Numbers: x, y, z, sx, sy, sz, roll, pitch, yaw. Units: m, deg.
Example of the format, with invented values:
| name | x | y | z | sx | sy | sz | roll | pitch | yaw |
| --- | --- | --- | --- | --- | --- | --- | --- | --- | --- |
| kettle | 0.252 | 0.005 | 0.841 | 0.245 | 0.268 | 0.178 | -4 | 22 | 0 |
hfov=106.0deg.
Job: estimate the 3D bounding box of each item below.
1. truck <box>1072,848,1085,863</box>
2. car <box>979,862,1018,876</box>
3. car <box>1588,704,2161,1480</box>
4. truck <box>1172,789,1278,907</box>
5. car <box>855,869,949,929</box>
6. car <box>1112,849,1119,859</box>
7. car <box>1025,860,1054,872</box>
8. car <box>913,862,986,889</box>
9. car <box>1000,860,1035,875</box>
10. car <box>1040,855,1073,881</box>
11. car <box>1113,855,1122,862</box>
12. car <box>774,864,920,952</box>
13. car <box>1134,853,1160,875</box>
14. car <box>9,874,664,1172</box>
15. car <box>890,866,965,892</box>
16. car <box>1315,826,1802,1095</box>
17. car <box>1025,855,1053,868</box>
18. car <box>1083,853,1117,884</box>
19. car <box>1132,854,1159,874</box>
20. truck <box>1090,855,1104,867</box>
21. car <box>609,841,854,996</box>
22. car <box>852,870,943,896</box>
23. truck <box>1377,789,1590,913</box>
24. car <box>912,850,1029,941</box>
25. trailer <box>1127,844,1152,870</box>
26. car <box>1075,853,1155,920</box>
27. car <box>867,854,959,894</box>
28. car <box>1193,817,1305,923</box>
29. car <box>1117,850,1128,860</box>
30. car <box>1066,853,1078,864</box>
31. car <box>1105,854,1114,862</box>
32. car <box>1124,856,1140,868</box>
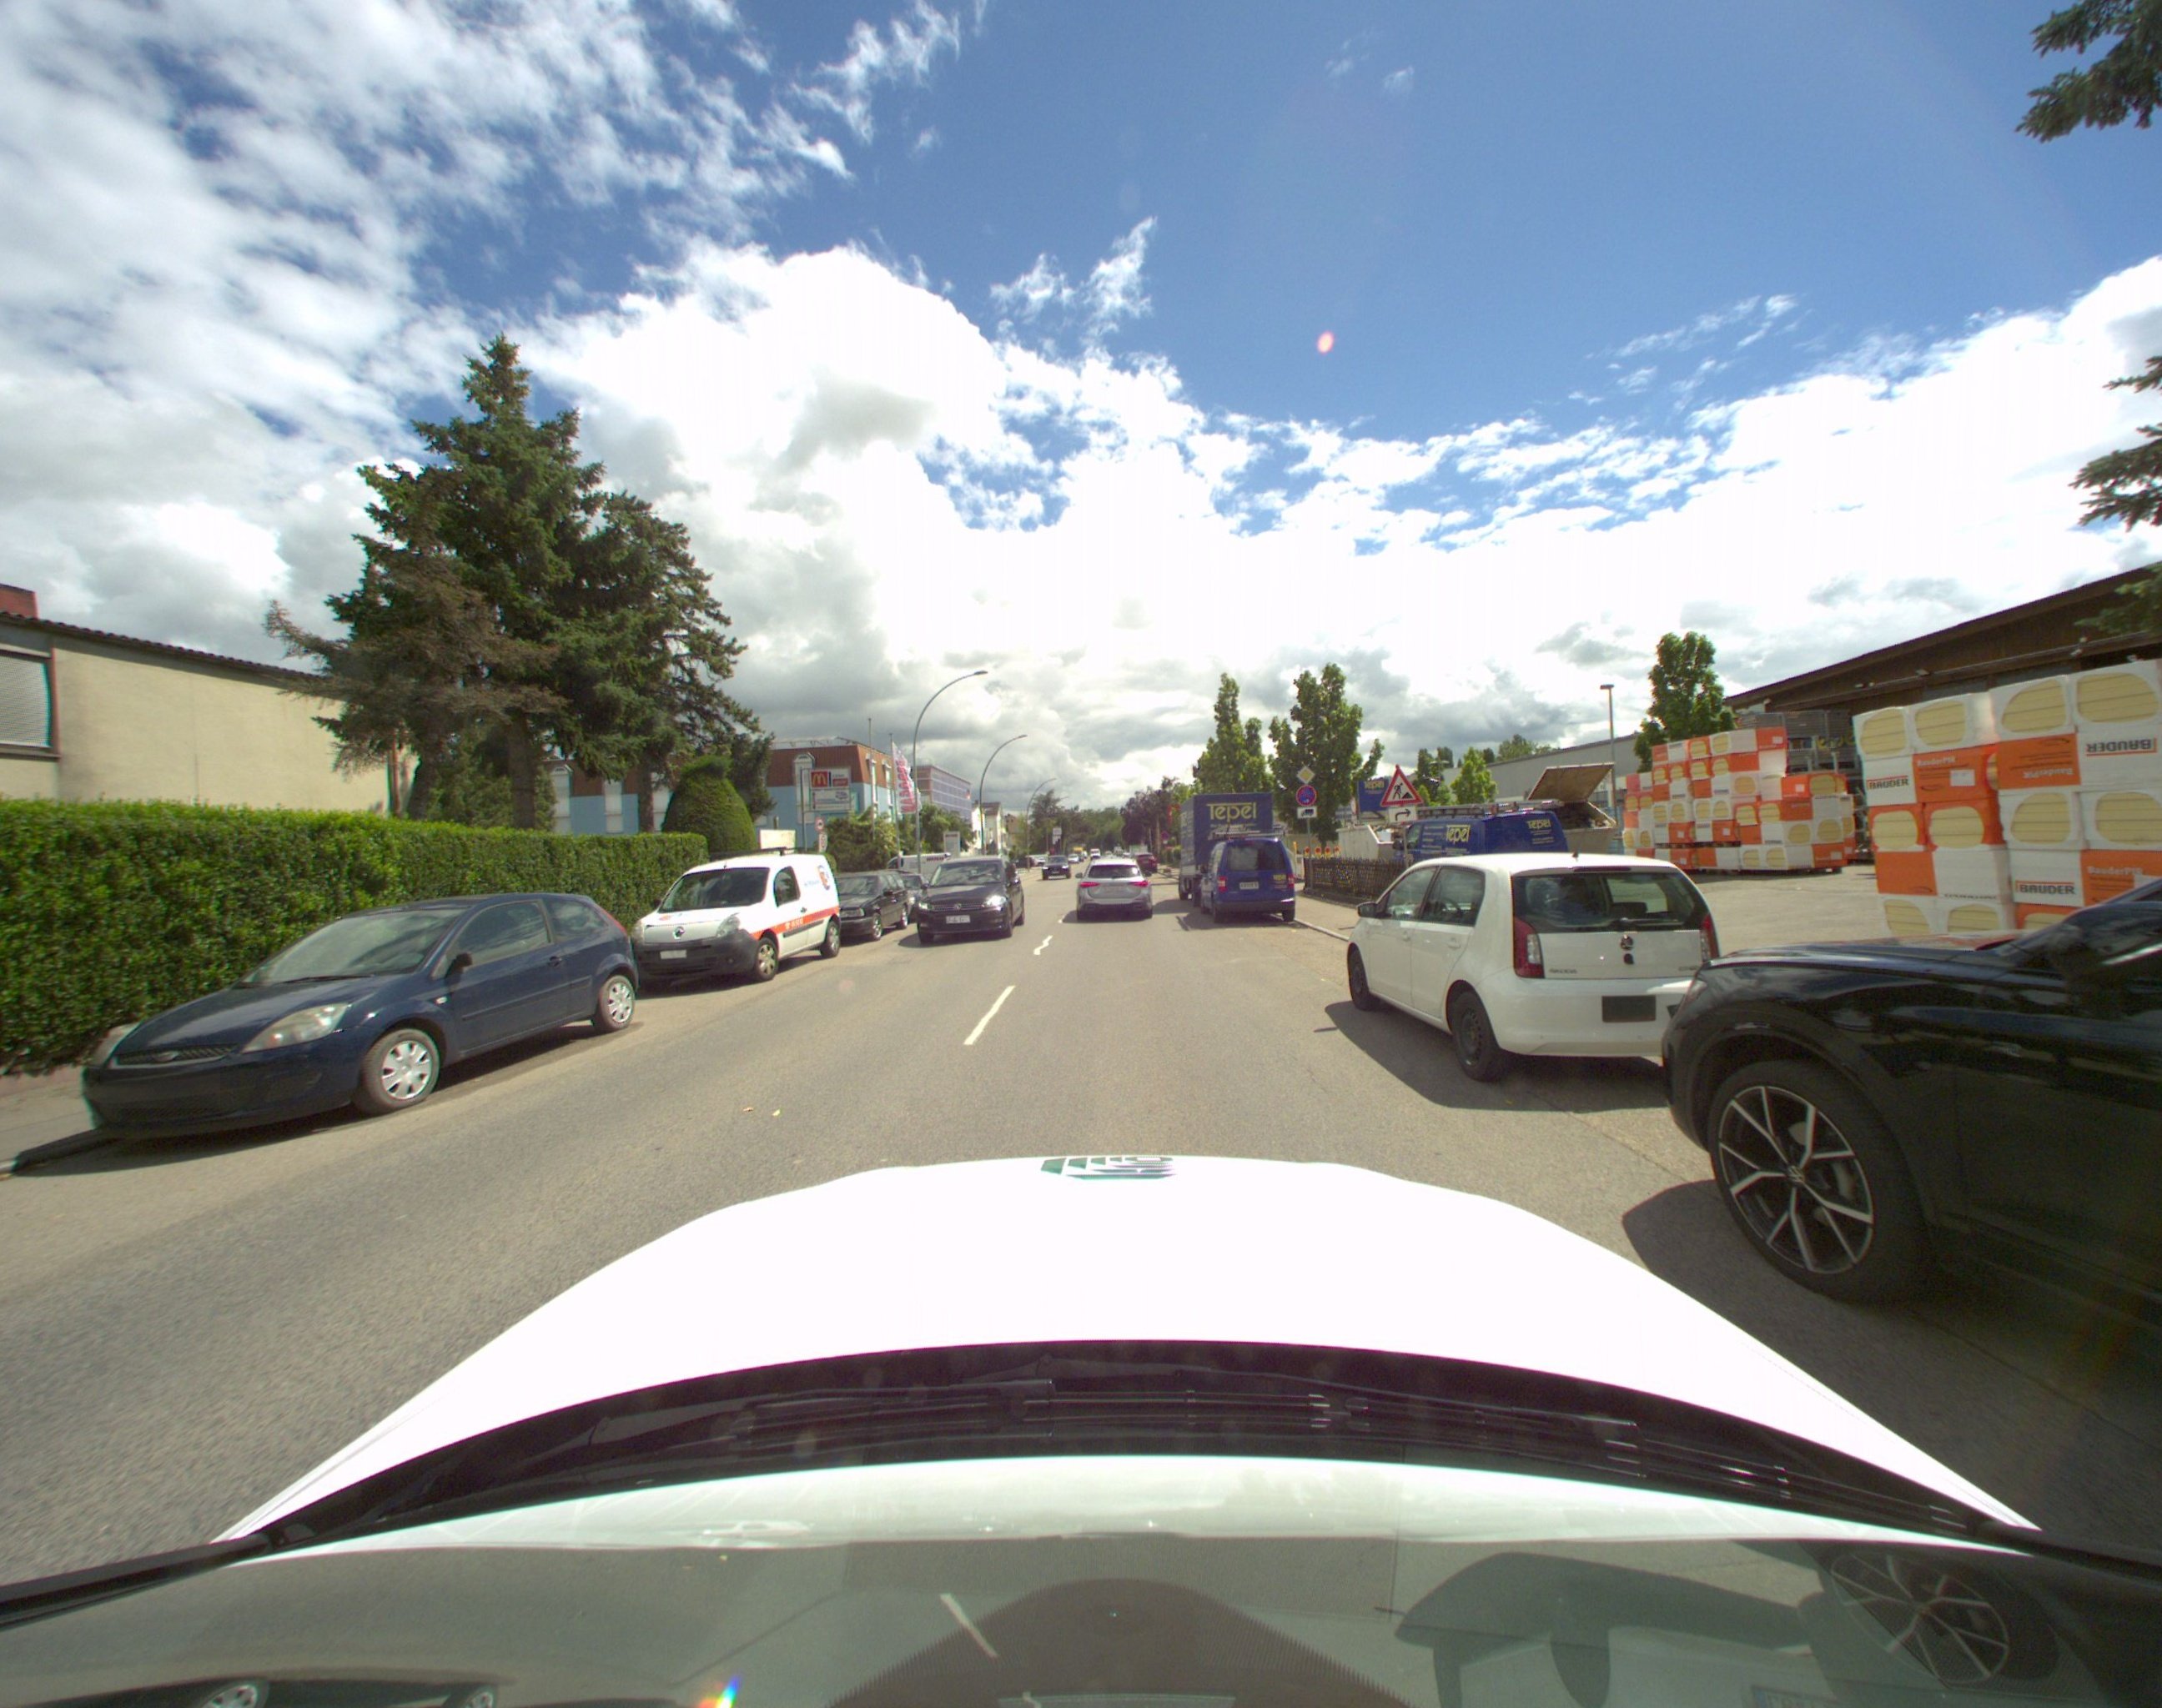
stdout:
| name | x | y | z | sx | sy | sz | roll | pitch | yaw |
| --- | --- | --- | --- | --- | --- | --- | --- | --- | --- |
| truck | -0.489 | 0.320 | 169.495 | 2.066 | 2.814 | 7.083 | -4 | 0 | 3 |
| car | -9.068 | 1.650 | 89.552 | 4.139 | 1.492 | 1.824 | 0 | 0 | -2 |
| car | 3.306 | 0.488 | 1.401 | 1.868 | 1.727 | 4.712 | -3 | 0 | 0 |
| truck | 4.142 | -0.170 | 24.547 | 2.312 | 3.097 | 6.045 | -1 | 0 | 2 |
| car | -4.929 | 1.195 | 22.944 | 1.626 | 1.303 | 4.116 | -6 | 0 | 0 |
| car | 8.802 | -0.085 | 208.162 | 1.779 | 2.518 | 4.315 | -1 | -1 | 0 |
| car | -6.332 | 1.888 | 125.132 | 4.263 | 1.567 | 1.992 | -3 | -3 | 2 |
| car | -8.552 | 1.402 | 53.309 | 4.358 | 1.478 | 1.872 | -3 | -1 | 2 |
| car | -8.726 | 1.858 | 112.687 | 4.615 | 1.632 | 2.196 | -6 | 0 | -2 |
| car | -1.662 | 0.927 | 57.021 | 1.986 | 1.615 | 4.412 | -4 | 0 | 1 |
| car | 8.760 | 1.061 | 196.205 | 1.779 | 1.715 | 4.315 | -1 | -1 | 0 |
| car | -4.981 | 1.070 | 18.064 | 1.738 | 1.472 | 4.644 | -6 | 0 | 0 |
| car | 5.234 | 0.802 | 64.860 | 1.933 | 1.571 | 4.450 | -3 | 0 | 4 |
| car | -5.425 | 1.045 | 6.814 | 1.634 | 1.487 | 4.000 | -6 | 0 | 0 |
| car | -9.061 | 1.456 | 48.332 | 3.974 | 1.315 | 1.871 | -3 | -1 | 0 |
| car | 3.407 | 0.626 | 6.837 | 1.767 | 1.508 | 4.001 | -3 | 0 | 1 |
| car | -6.694 | 1.178 | 130.506 | 4.265 | 1.836 | 1.991 | -3 | -3 | 0 |
| car | 1.034 | 0.762 | 45.446 | 1.749 | 1.558 | 4.001 | -2 | 0 | 1 |
| car | 5.489 | 0.861 | 69.788 | 1.935 | 1.571 | 4.444 | -3 | 0 | 0 |
| truck | 3.348 | 1.445 | 167.473 | 2.309 | 2.178 | 6.455 | -4 | 0 | 4 |
| car | -5.137 | 0.824 | 12.728 | 1.738 | 1.838 | 4.356 | -6 | 0 | 0 |
| car | -8.934 | 1.405 | 39.876 | 3.974 | 1.204 | 1.871 | 0 | 0 | 0 |
| truck | 8.278 | -0.112 | 17.468 | 1.823 | 2.081 | 5.387 | -6 | 1 | 1 |
| car | -2.182 | 0.758 | 17.266 | 1.737 | 1.627 | 4.357 | -2 | 0 | 1 |
| trailer | 5.444 | 0.299 | 76.239 | 1.935 | 2.294 | 4.445 | -3 | 0 | 0 |
| car | 0.780 | 0.729 | 20.664 | 1.779 | 1.484 | 4.316 | -1 | 0 | 0 |
| car | -9.341 | 1.085 | 45.662 | 4.639 | 1.972 | 2.114 | -3 | 0 | -2 |
| car | 3.787 | 0.326 | 19.116 | 1.866 | 2.169 | 4.467 | -1 | 0 | 2 |
| car | 8.590 | 0.244 | 170.767 | 2.136 | 1.984 | 5.264 | -3 | 0 | 2 |
| car | -1.531 | 0.748 | 135.731 | 1.785 | 1.603 | 4.365 | -4 | 0 | 2 |
| car | 5.952 | 0.850 | 169.092 | 1.749 | 1.558 | 4.001 | -2 | 0 | 1 |
| car | 6.988 | 1.130 | 111.924 | 1.786 | 1.450 | 4.362 | -4 | 0 | -1 |
